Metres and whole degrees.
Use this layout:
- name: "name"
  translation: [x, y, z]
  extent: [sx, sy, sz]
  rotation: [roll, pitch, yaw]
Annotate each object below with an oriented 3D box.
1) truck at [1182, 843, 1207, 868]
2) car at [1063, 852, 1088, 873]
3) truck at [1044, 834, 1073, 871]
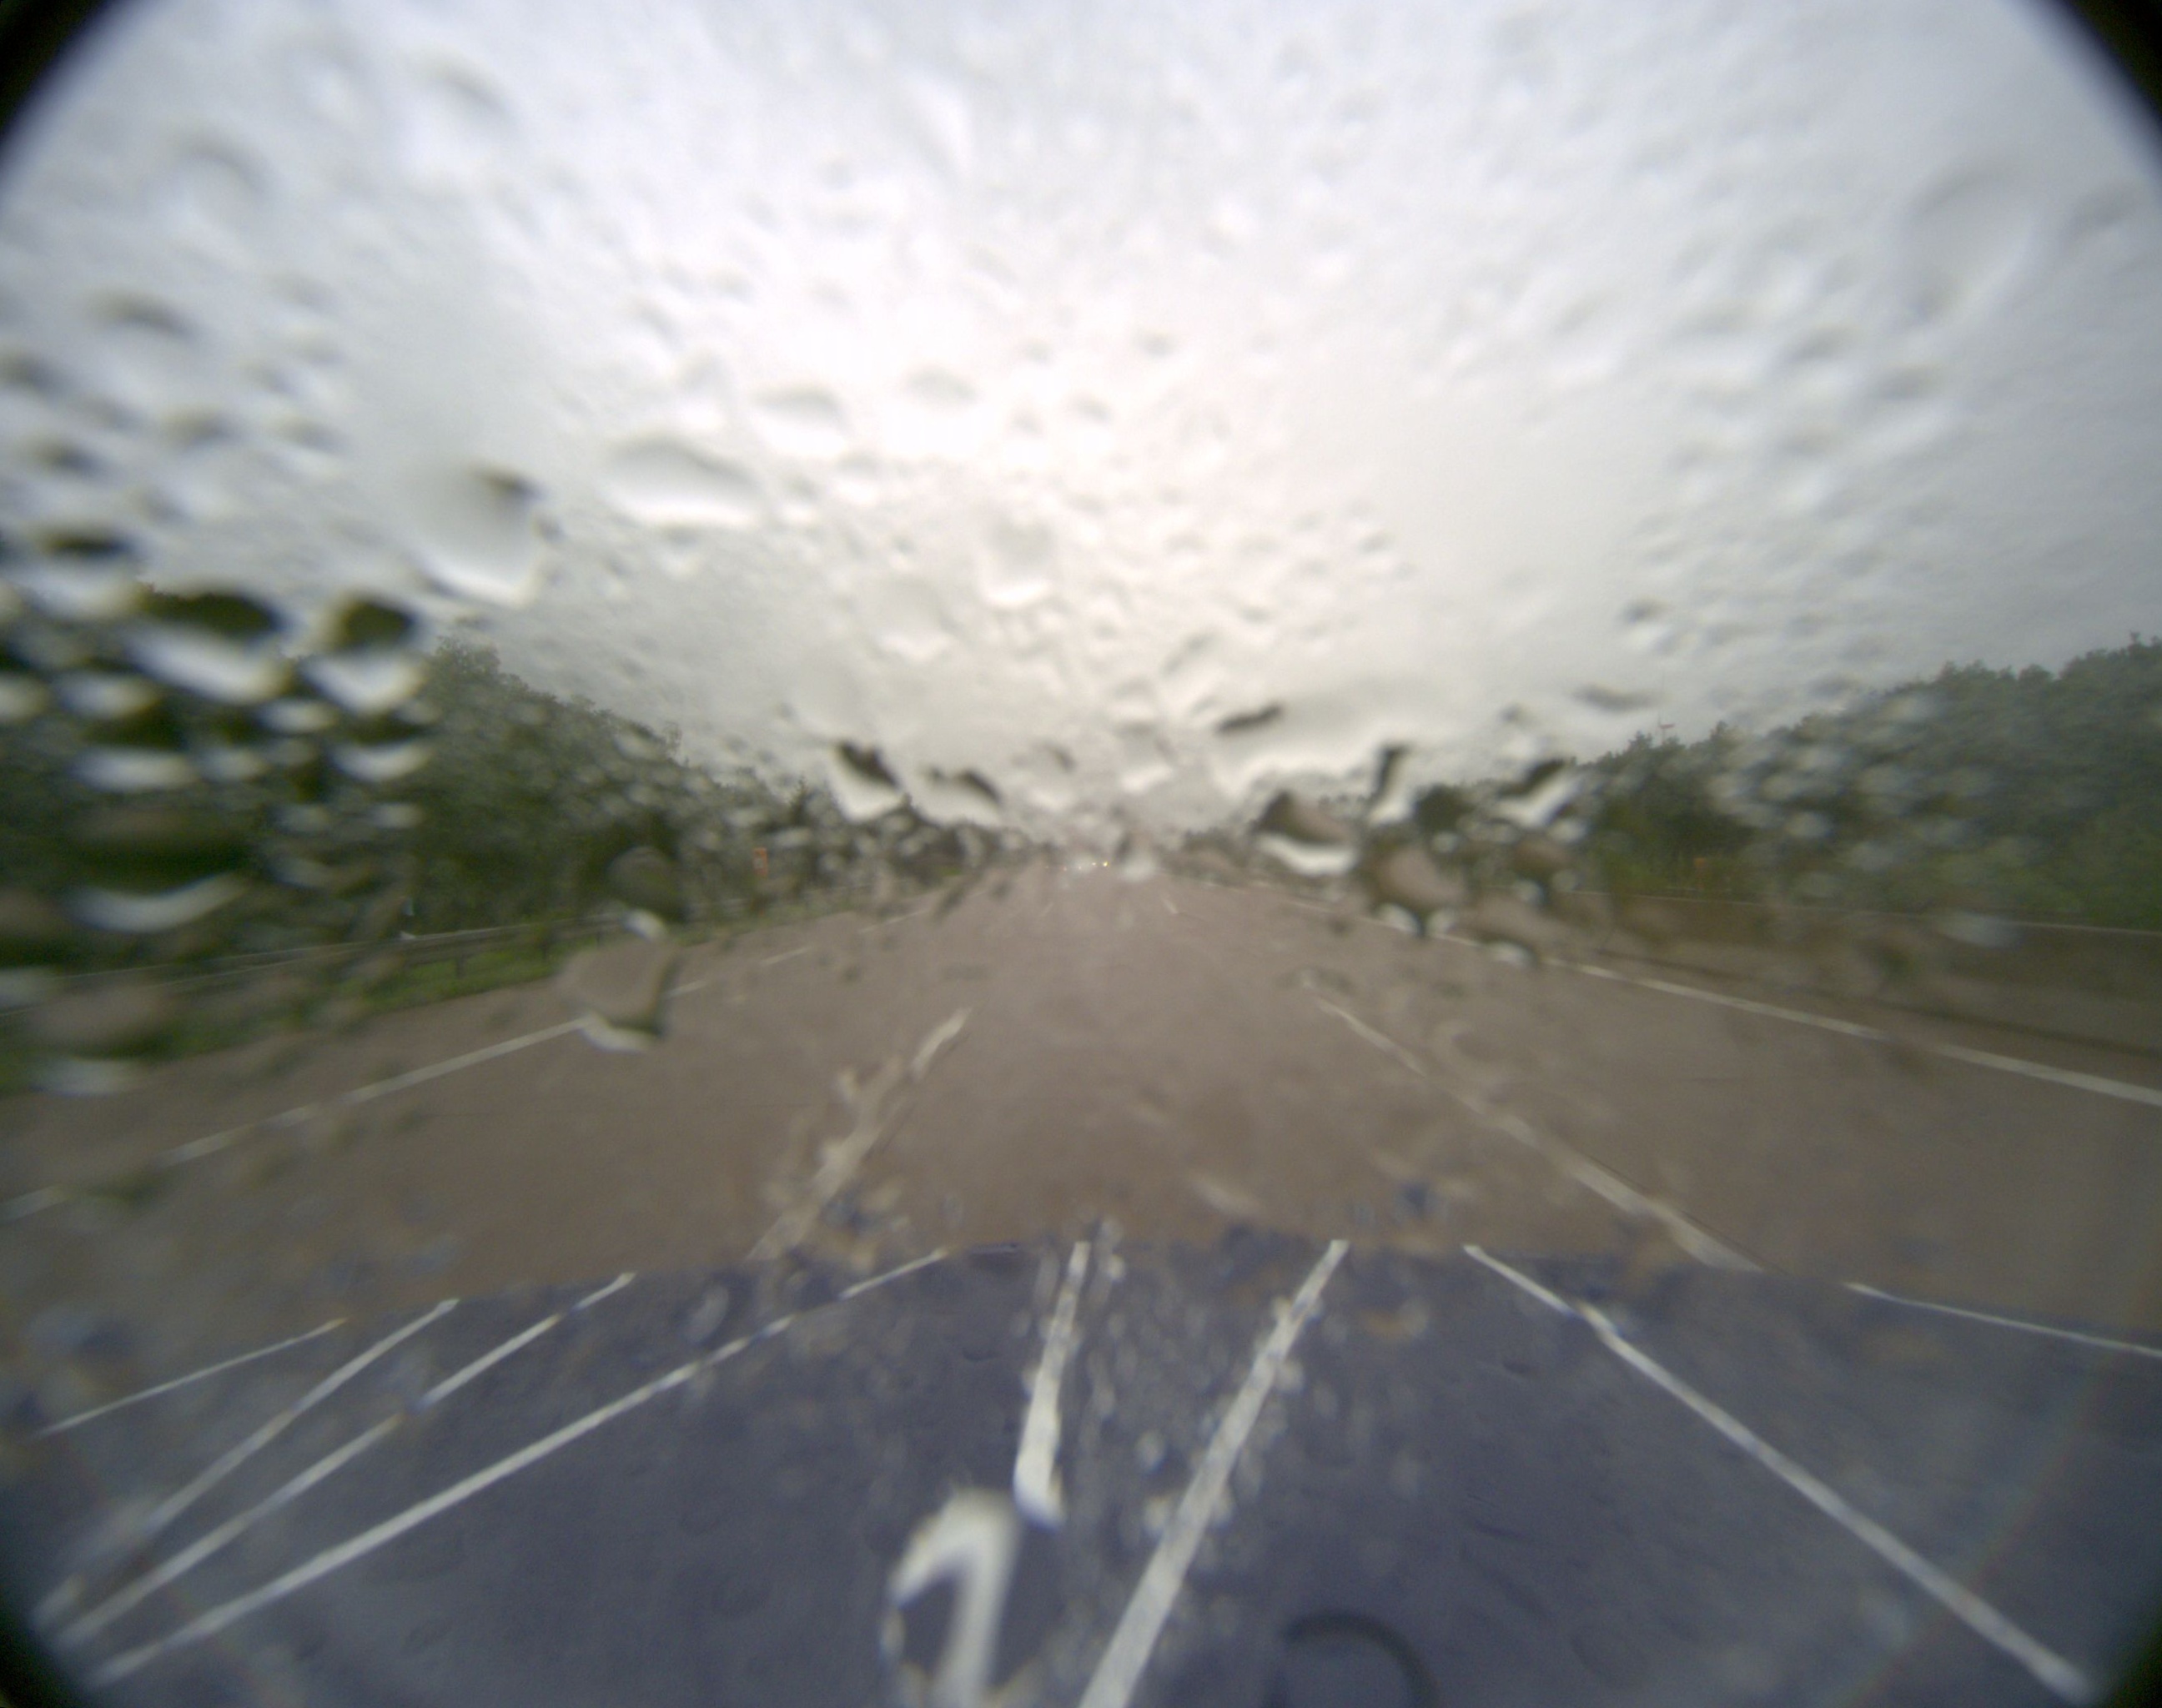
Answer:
- name: "truck"
  translation: [22.213, 0.322, 148.978]
  extent: [3.154, 4.446, 9.556]
  rotation: [-3, 0, -1]
- name: "car"
  translation: [-0.466, 0.761, 68.601]
  extent: [1.812, 1.718, 4.745]
  rotation: [-2, 0, 3]
- name: "truck"
  translation: [-2.567, -0.063, 88.746]
  extent: [2.887, 4.081, 6.352]
  rotation: [0, -1, 2]
